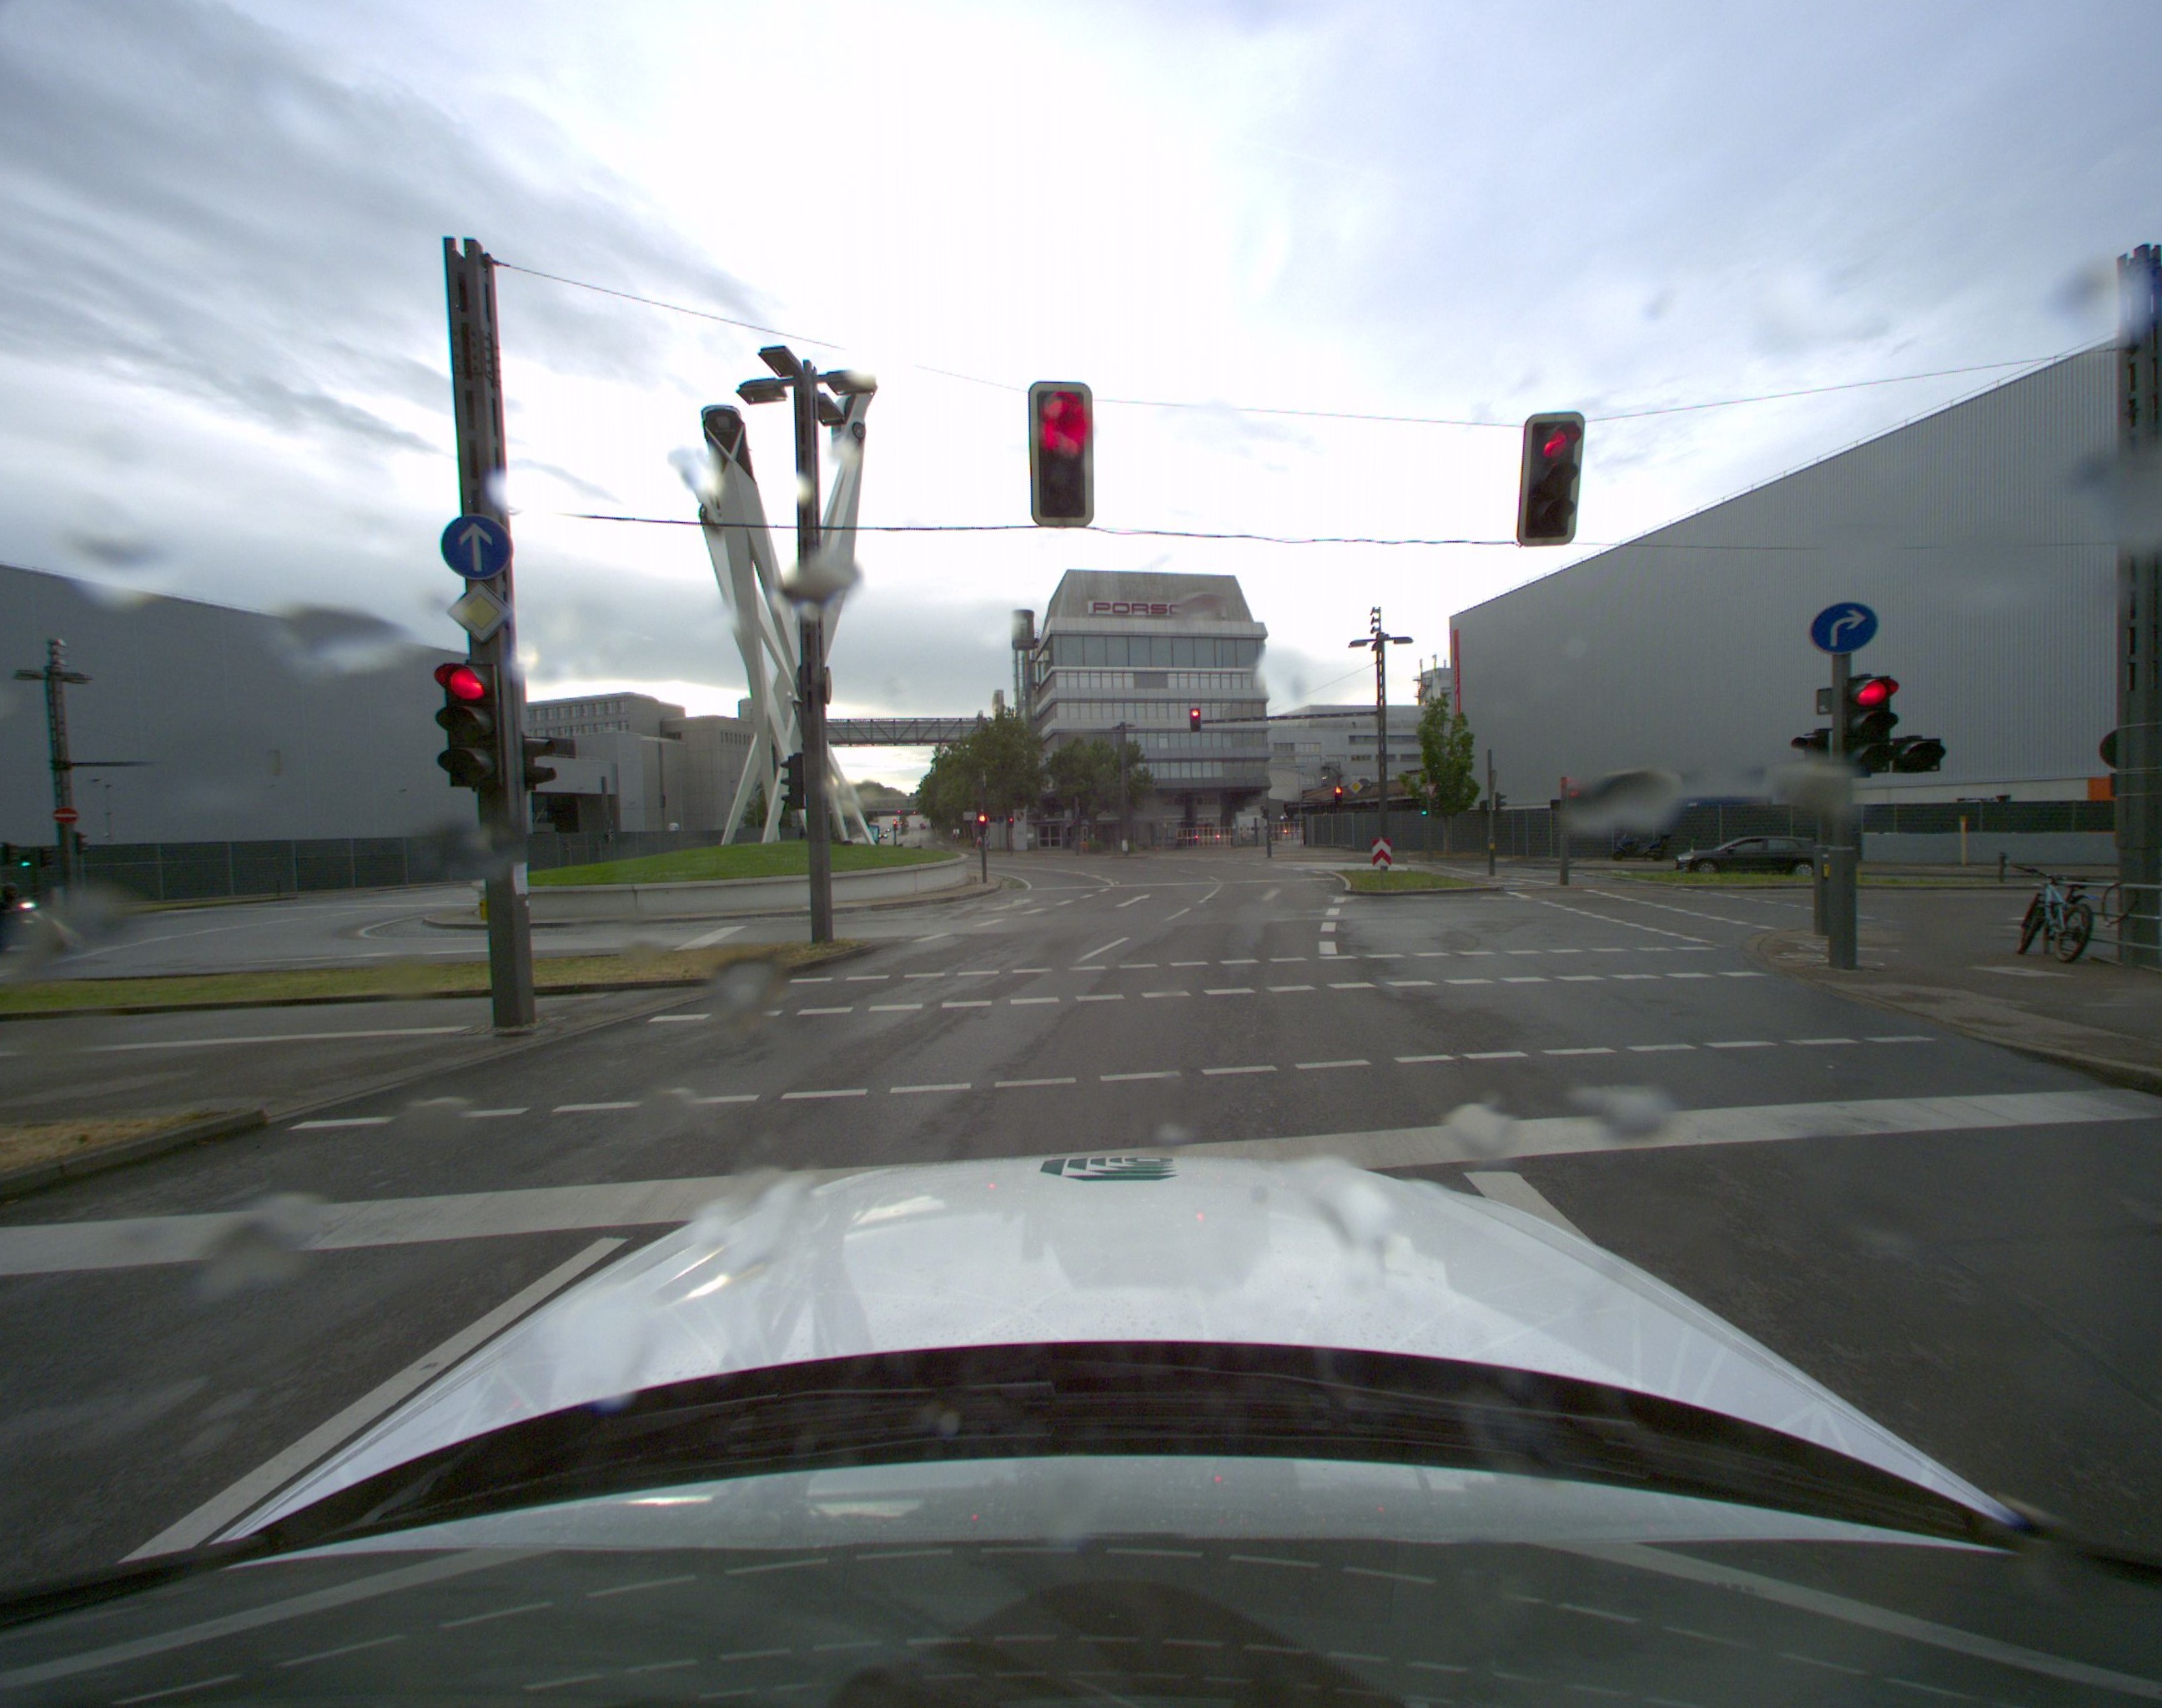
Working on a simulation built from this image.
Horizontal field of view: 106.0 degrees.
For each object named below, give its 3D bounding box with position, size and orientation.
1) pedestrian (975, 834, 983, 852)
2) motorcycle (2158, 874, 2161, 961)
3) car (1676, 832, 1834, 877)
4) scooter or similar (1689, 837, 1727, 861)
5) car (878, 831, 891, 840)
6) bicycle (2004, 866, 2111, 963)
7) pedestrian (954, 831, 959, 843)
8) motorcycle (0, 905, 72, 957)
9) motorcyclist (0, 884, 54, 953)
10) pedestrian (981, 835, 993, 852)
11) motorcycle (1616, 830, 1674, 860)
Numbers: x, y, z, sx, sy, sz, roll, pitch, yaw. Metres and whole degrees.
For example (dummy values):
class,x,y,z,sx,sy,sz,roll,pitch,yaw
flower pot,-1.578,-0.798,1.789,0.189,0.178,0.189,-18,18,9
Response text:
class,x,y,z,sx,sy,sz,roll,pitch,yaw
pedestrian,-9.332,-1.012,74.527,0.708,1.591,0.839,-2,2,-7
motorcycle,15.186,0.821,10.302,2.074,1.145,0.490,0,-1,11
car,22.841,-0.010,27.802,3.949,1.425,1.732,0,1,31
scooter or similar,27.498,-0.222,35.732,0.387,1.028,1.259,-2,2,-29
car,-45.216,-4.285,187.571,1.986,2.014,4.001,0,-1,2
bicycle,12.570,0.728,10.532,0.416,1.130,2.086,-1,-1,37
pedestrian,-18.172,-2.439,119.239,0.712,1.740,0.757,0,-1,-12
motorcycle,-25.843,1.870,19.741,2.250,1.192,0.451,-2,0,3
motorcyclist,-25.890,1.558,19.763,1.027,1.622,0.671,-2,0,3
pedestrian,-8.476,-0.951,73.793,0.835,1.520,0.835,-3,2,-23
motorcycle,25.580,-0.404,36.957,2.074,1.310,0.659,0,2,27
